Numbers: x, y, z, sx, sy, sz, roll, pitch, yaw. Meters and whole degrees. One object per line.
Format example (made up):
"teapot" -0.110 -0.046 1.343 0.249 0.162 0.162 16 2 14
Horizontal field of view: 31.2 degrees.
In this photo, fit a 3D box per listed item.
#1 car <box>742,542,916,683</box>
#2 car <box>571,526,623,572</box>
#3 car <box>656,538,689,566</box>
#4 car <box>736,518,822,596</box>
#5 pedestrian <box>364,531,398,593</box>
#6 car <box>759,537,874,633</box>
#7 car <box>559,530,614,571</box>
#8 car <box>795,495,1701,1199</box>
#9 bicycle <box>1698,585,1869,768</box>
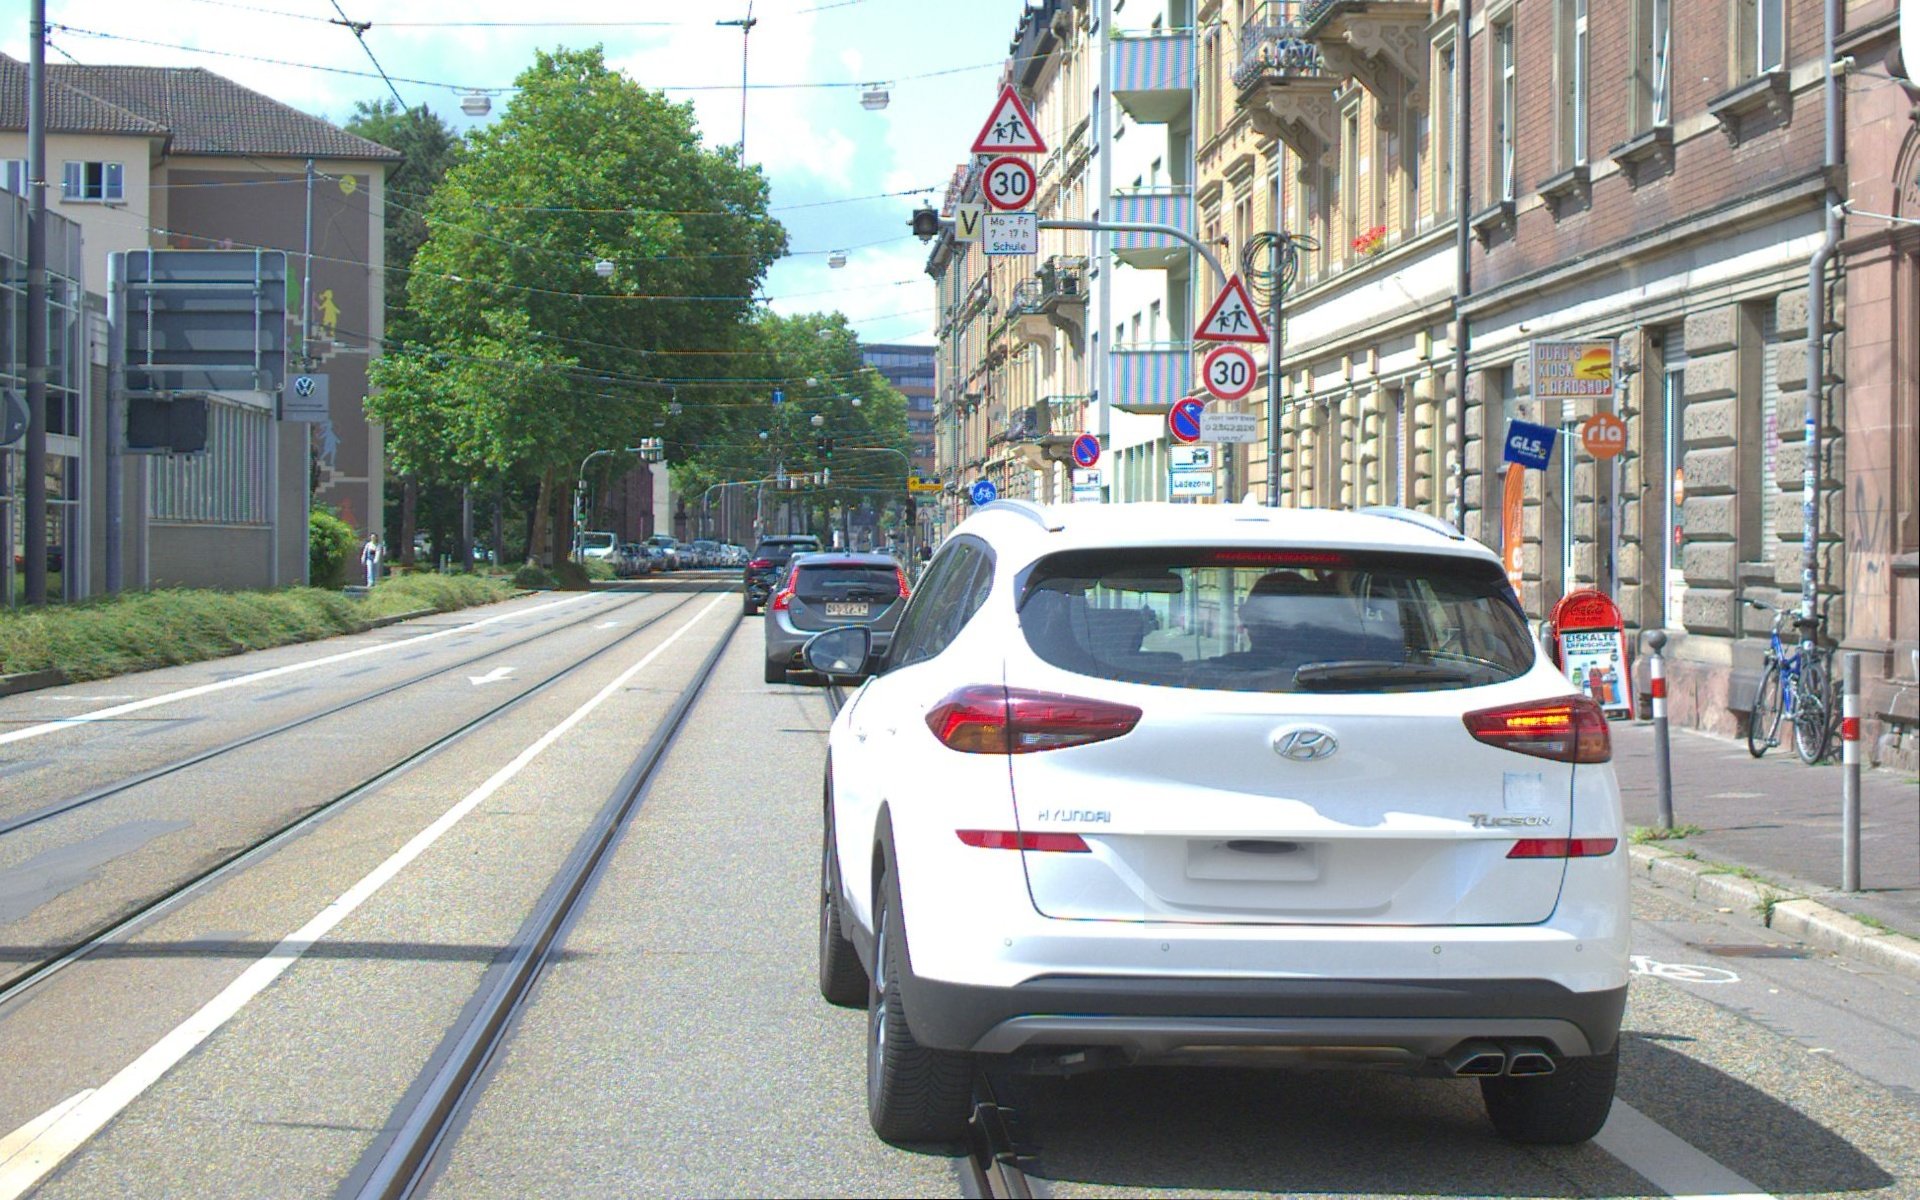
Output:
"car" -1.440 0.102 39.159 1.814 1.519 4.085 0 1 0
"car" -15.584 -2.209 147.736 1.950 1.888 4.566 1 1 -3
"car" -17.714 -2.955 211.793 1.950 1.626 4.001 1 1 -5
"car" -3.982 -0.953 75.692 1.814 1.656 4.086 0 1 -3
"pedestrian" -17.465 -1.158 103.705 0.880 1.859 1.081 -1 1 -2
"car" -2.358 -0.278 56.311 1.814 1.519 3.956 0 1 -3
"car" -15.395 -2.064 141.912 1.950 1.626 4.576 1 1 -3
"car" 0.563 0.568 9.890 1.852 1.628 4.181 2 1 -5
"bicycle" 5.663 0.500 23.757 0.586 1.174 2.205 0 1 -2
